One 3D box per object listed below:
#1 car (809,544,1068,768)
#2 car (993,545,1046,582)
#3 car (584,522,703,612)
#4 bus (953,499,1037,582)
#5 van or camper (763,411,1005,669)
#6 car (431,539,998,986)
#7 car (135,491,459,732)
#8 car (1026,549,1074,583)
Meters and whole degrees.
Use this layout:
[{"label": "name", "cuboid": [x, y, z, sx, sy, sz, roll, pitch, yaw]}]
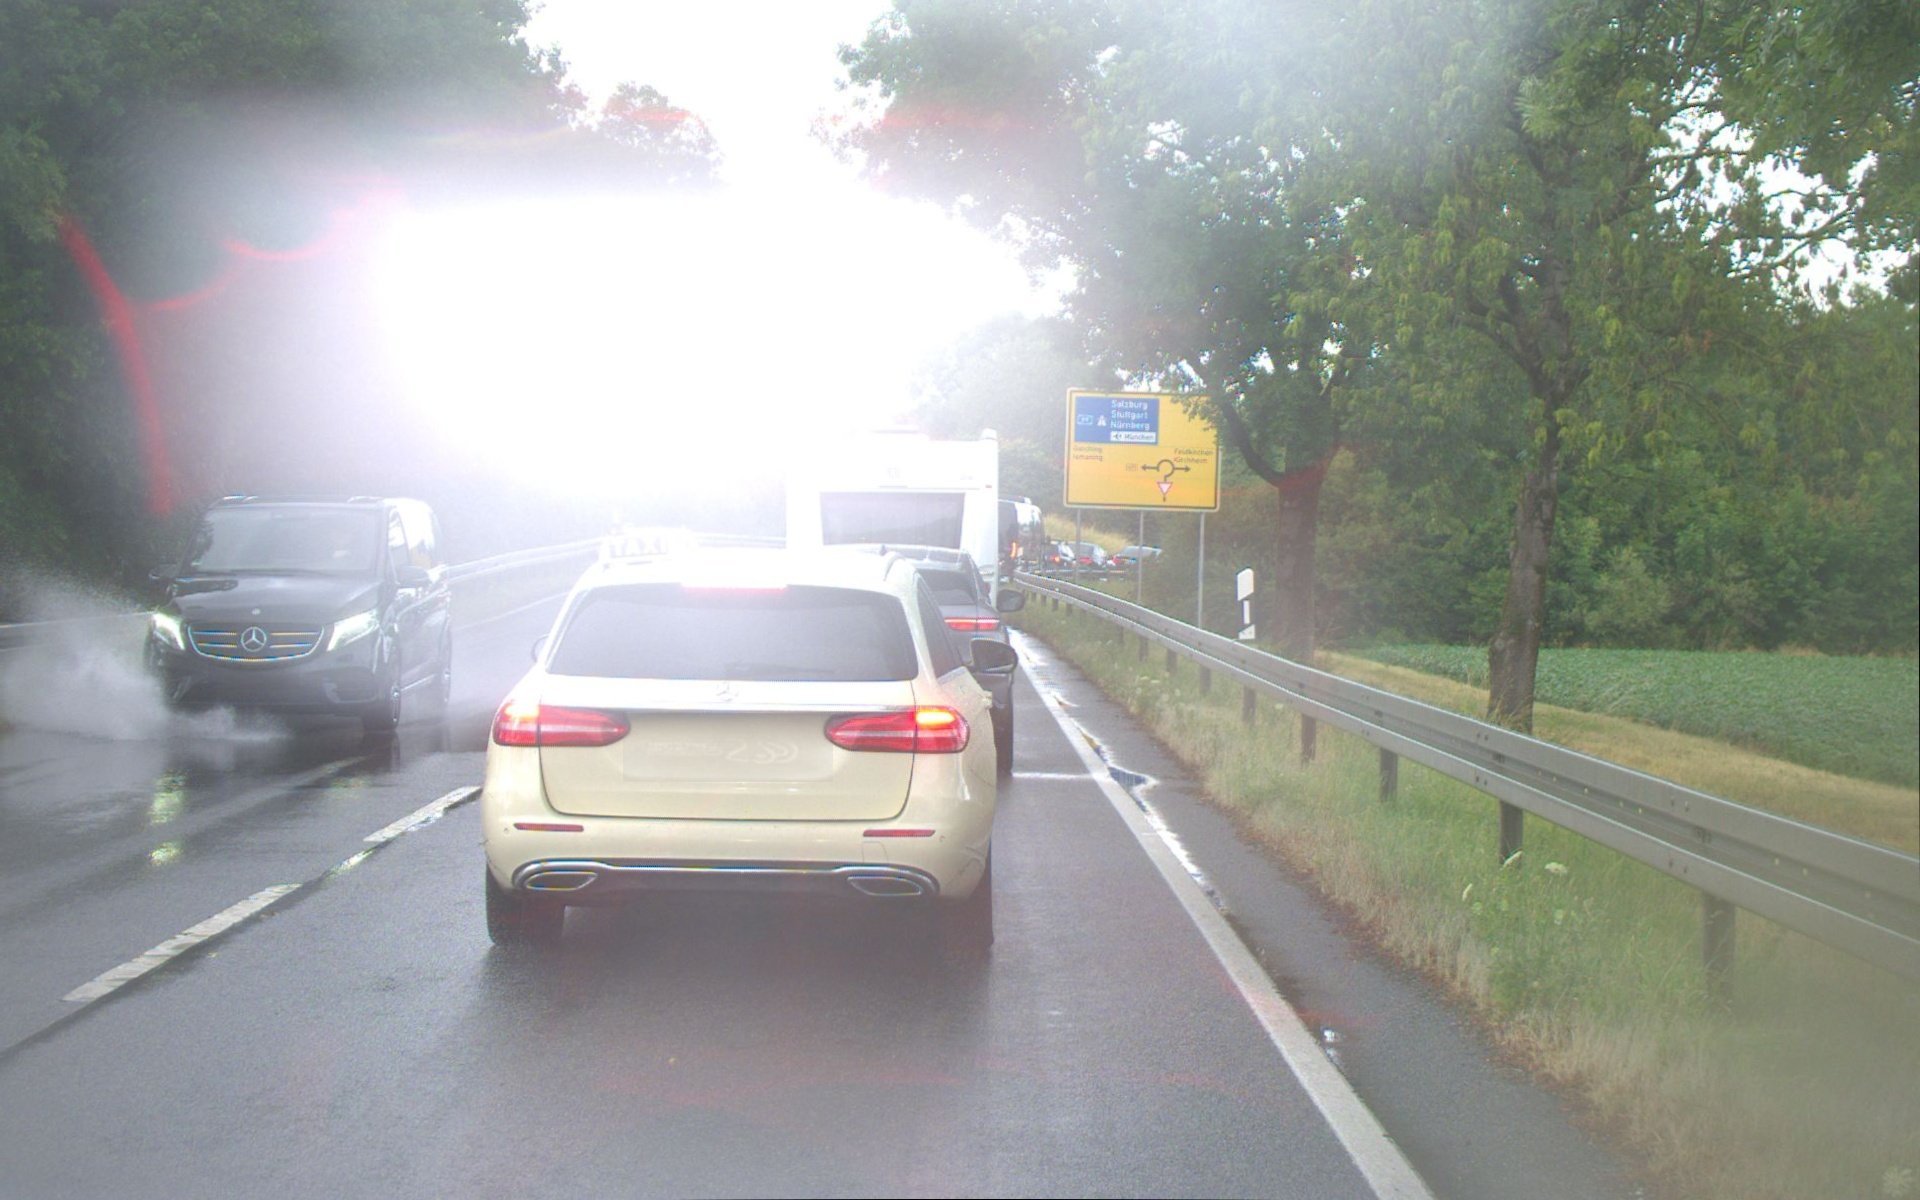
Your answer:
[{"label": "car", "cuboid": [-0.110, 0.328, 24.199, 1.664, 1.426, 4.000, 0, 1, 1]}, {"label": "car", "cuboid": [1.867, -1.159, 108.919, 1.551, 1.114, 4.000, 1, 1, -1]}, {"label": "car", "cuboid": [-5.254, -0.574, 57.409, 1.628, 1.433, 3.960, 1, 1, -1]}, {"label": "bus", "cuboid": [0.849, -1.469, 85.144, 1.993, 2.007, 4.000, 0, 1, -1]}, {"label": "van or camper", "cuboid": [-0.760, -0.683, 39.010, 2.489, 2.676, 5.700, 1, 1, 1]}, {"label": "car", "cuboid": [-0.798, 0.505, 13.445, 1.865, 1.471, 4.000, 0, 1, 1]}, {"label": "car", "cuboid": [-5.289, 0.046, 27.958, 1.828, 1.796, 4.415, 0, 1, -1]}, {"label": "car", "cuboid": [3.082, -1.177, 118.030, 1.551, 1.114, 4.000, 1, 1, 1]}]
